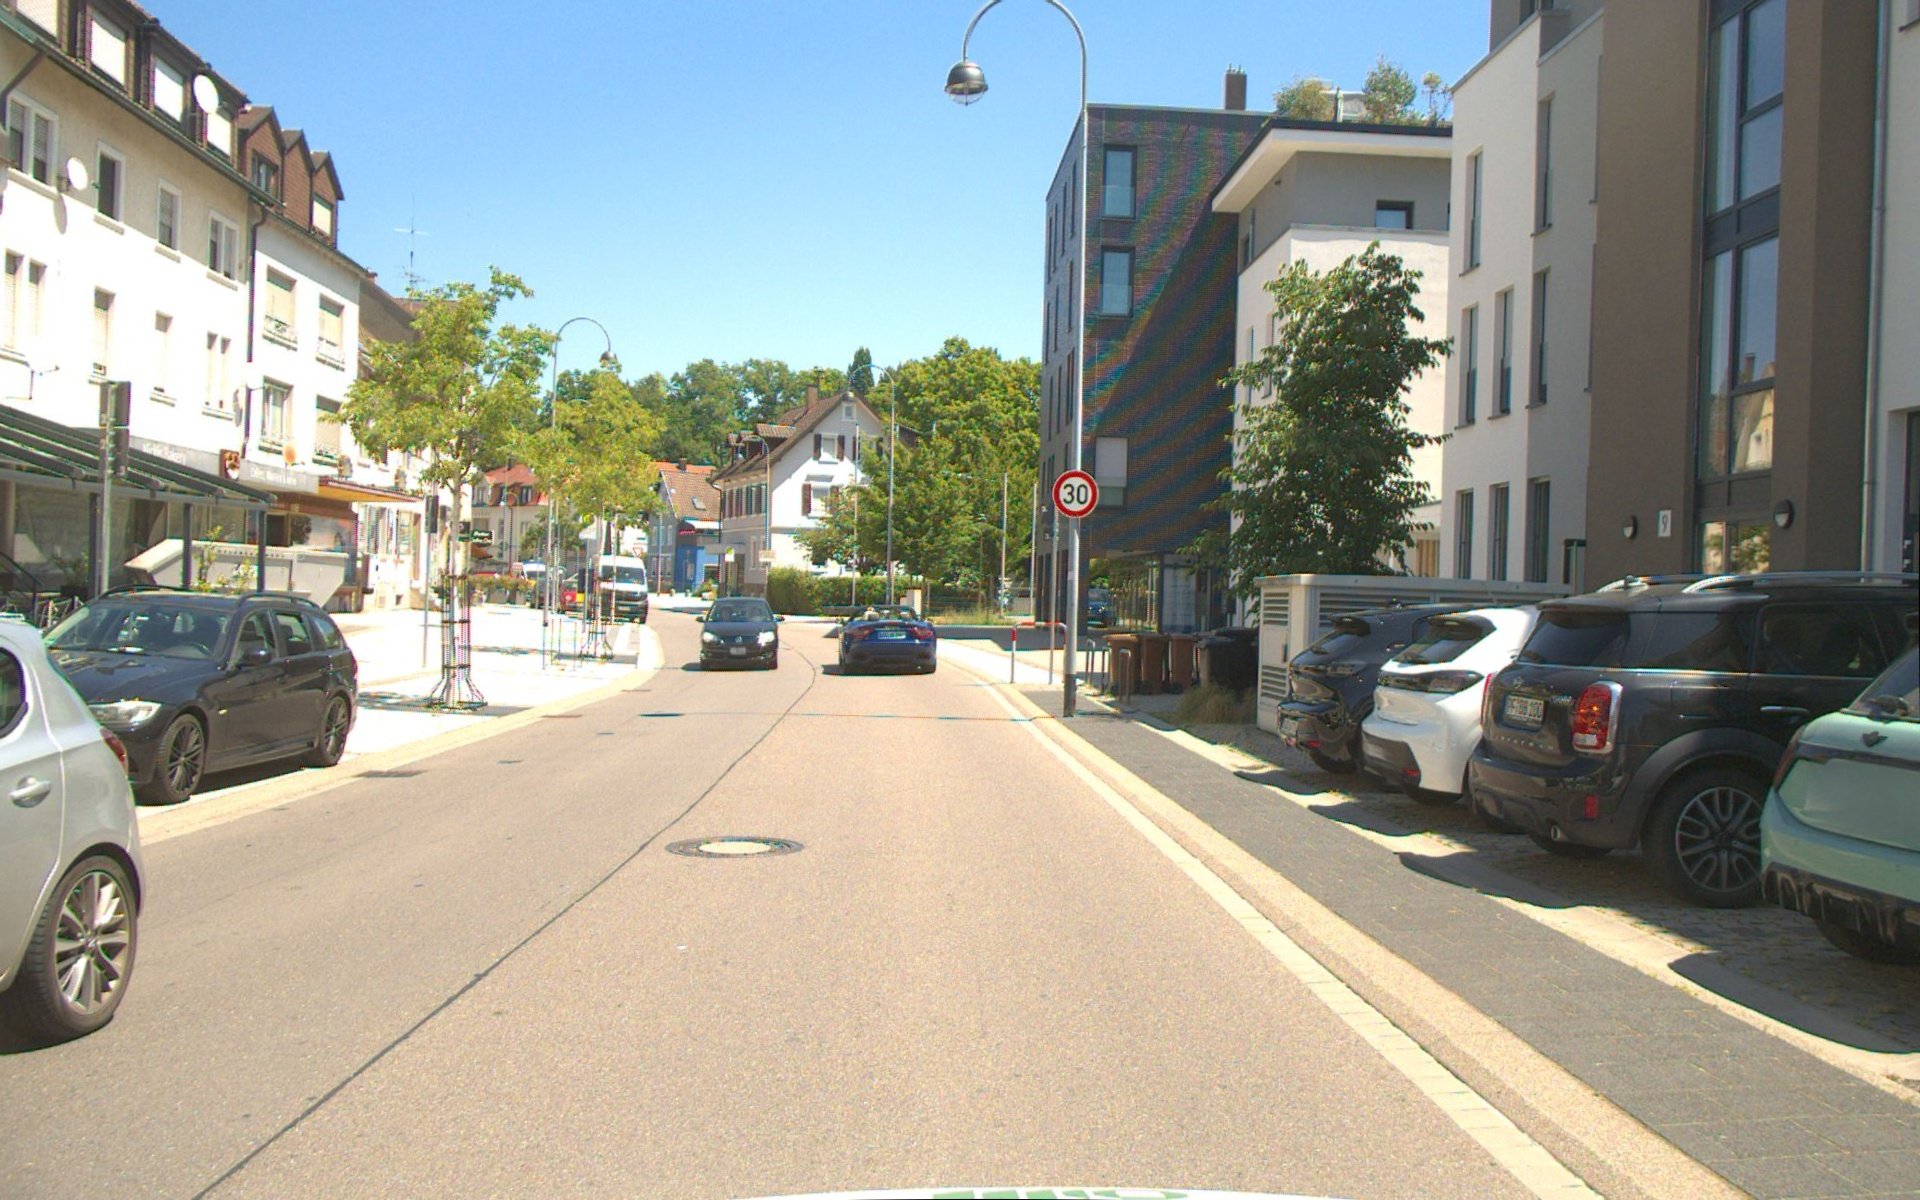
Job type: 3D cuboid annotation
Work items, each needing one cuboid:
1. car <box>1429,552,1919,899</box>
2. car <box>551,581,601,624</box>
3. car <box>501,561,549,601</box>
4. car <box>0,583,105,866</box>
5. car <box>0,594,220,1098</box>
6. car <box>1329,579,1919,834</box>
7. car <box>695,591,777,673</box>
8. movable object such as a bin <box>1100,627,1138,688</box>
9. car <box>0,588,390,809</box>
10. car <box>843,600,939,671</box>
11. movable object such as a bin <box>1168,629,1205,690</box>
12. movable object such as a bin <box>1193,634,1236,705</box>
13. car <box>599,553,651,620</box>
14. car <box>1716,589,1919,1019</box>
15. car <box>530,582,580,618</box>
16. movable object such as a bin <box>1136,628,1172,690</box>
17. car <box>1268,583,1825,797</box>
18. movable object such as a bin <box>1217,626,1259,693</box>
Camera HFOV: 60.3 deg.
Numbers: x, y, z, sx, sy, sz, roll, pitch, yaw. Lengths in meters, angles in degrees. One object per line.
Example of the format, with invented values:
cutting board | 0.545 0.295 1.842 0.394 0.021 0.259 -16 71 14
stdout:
car | 4.793 0.636 8.976 3.901 1.633 1.942 1 0 -3
car | -16.755 0.106 72.047 1.960 1.769 3.984 1 0 -15
car | -27.573 -1.180 104.772 1.845 2.442 4.774 1 0 -28
car | -6.040 0.650 7.909 1.610 1.505 3.942 3 0 3
car | -3.663 0.735 4.262 1.652 1.484 4.058 -1 0 0
car | 4.753 0.692 11.460 3.901 1.556 1.942 1 0 -3
car | -4.728 0.646 35.231 1.629 1.634 3.994 -1 0 -7
movable object such as a bin | 2.519 0.912 26.230 0.526 0.945 0.623 -1 -1 -1
car | -6.118 0.663 13.254 1.635 1.469 4.010 1 0 1
car | -1.392 0.681 34.146 1.833 1.365 4.594 0 0 -2
movable object such as a bin | 3.585 0.933 26.242 0.485 0.945 0.623 -1 -1 -1
movable object such as a bin | 3.518 0.956 22.868 0.485 0.945 0.623 -1 -1 -1
car | -12.917 -0.498 63.601 1.834 2.442 4.802 1 0 -13
car | 5.190 0.736 6.219 3.901 1.457 1.762 1 0 -3
car | -20.545 -0.014 83.821 1.965 1.722 3.975 2 0 -21
movable object such as a bin | 3.075 0.929 26.220 0.485 0.945 0.623 -1 -1 -1
car | 4.649 0.696 13.459 3.901 1.556 1.739 1 0 -3
movable object such as a bin | 4.012 0.849 23.915 0.485 0.945 0.623 -1 -1 -1
